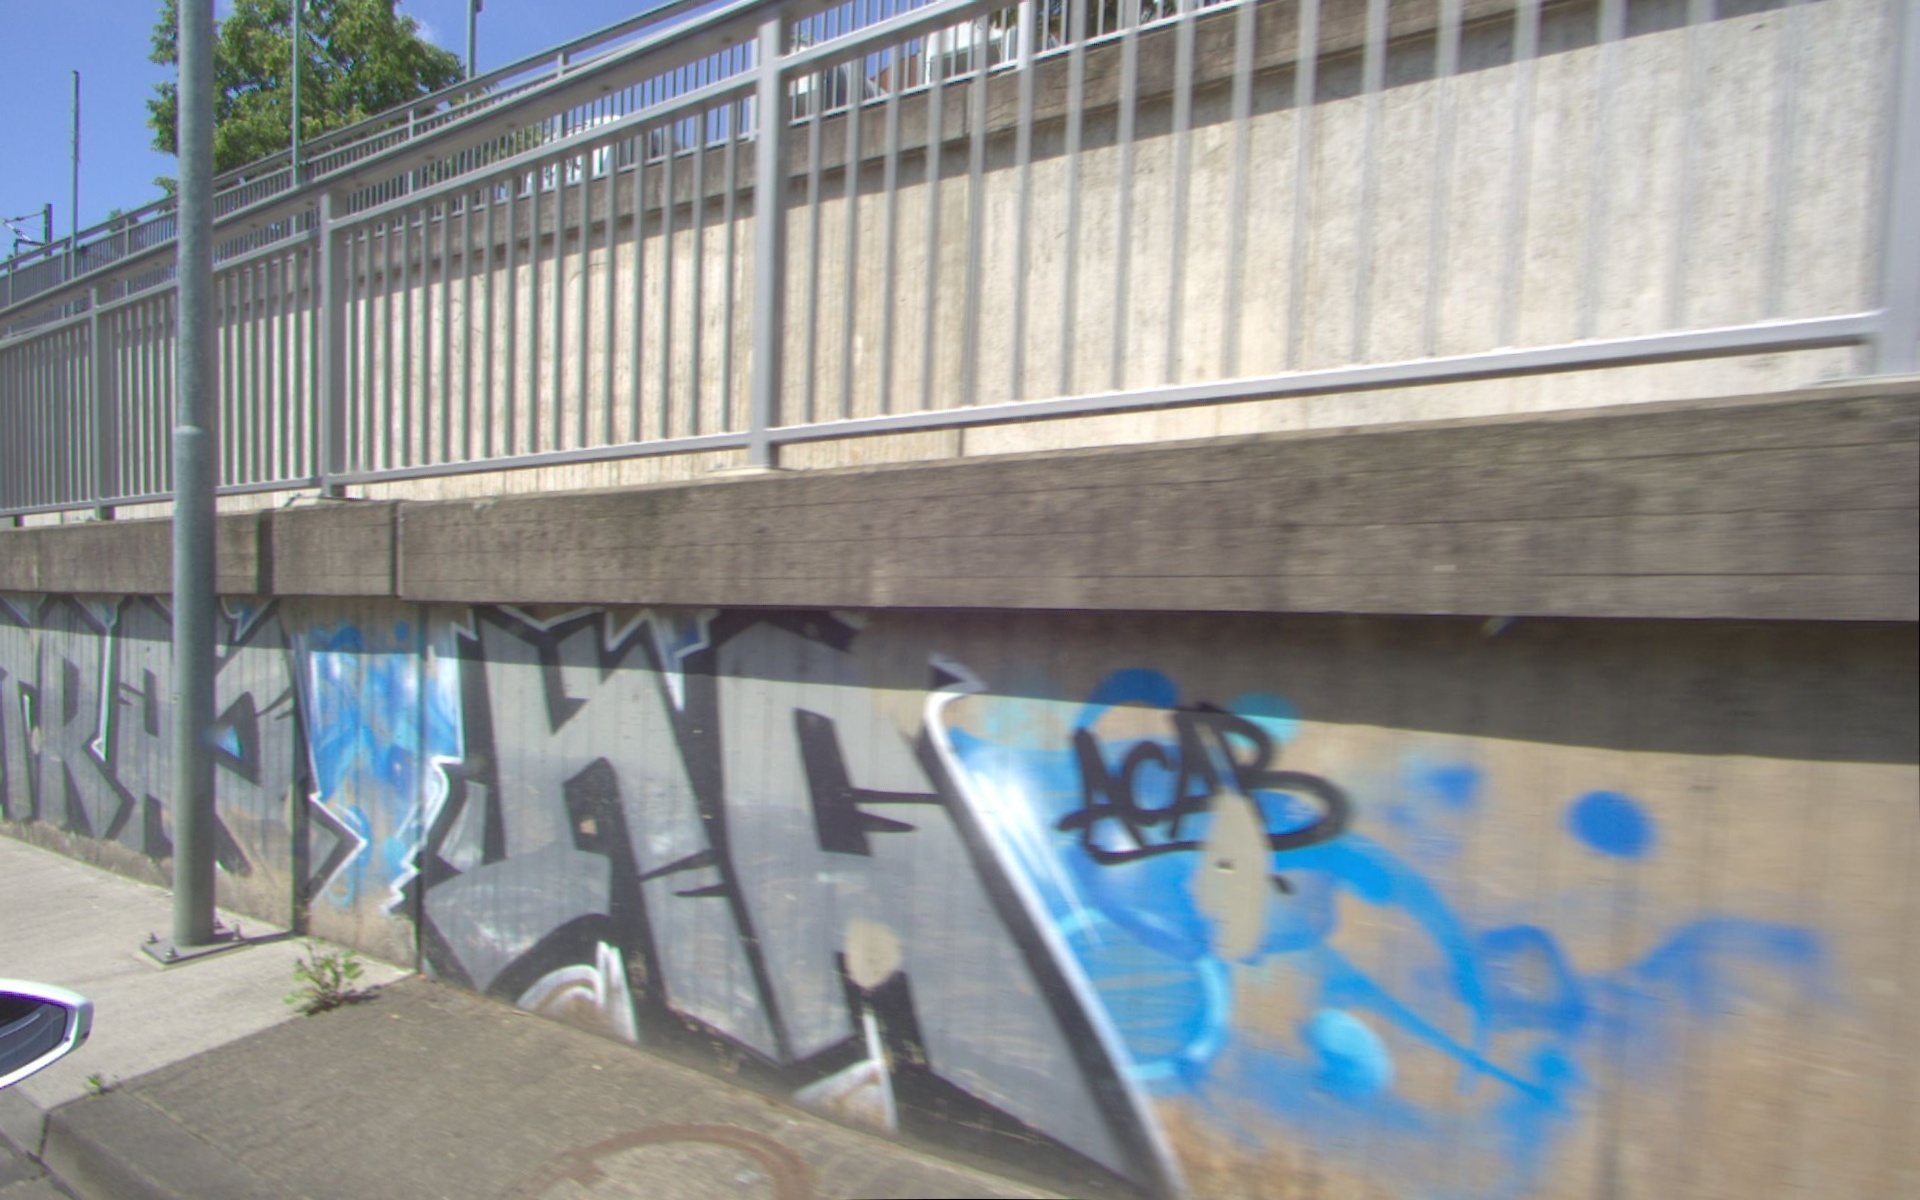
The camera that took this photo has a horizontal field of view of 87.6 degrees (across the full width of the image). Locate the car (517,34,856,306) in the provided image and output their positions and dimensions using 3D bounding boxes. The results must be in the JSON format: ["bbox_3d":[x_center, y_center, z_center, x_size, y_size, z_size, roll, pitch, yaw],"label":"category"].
[{"bbox_3d":[-3.286,-5.179,12.735,1.746,1.505,3.977,0,-1,35],"label":"car"}]
